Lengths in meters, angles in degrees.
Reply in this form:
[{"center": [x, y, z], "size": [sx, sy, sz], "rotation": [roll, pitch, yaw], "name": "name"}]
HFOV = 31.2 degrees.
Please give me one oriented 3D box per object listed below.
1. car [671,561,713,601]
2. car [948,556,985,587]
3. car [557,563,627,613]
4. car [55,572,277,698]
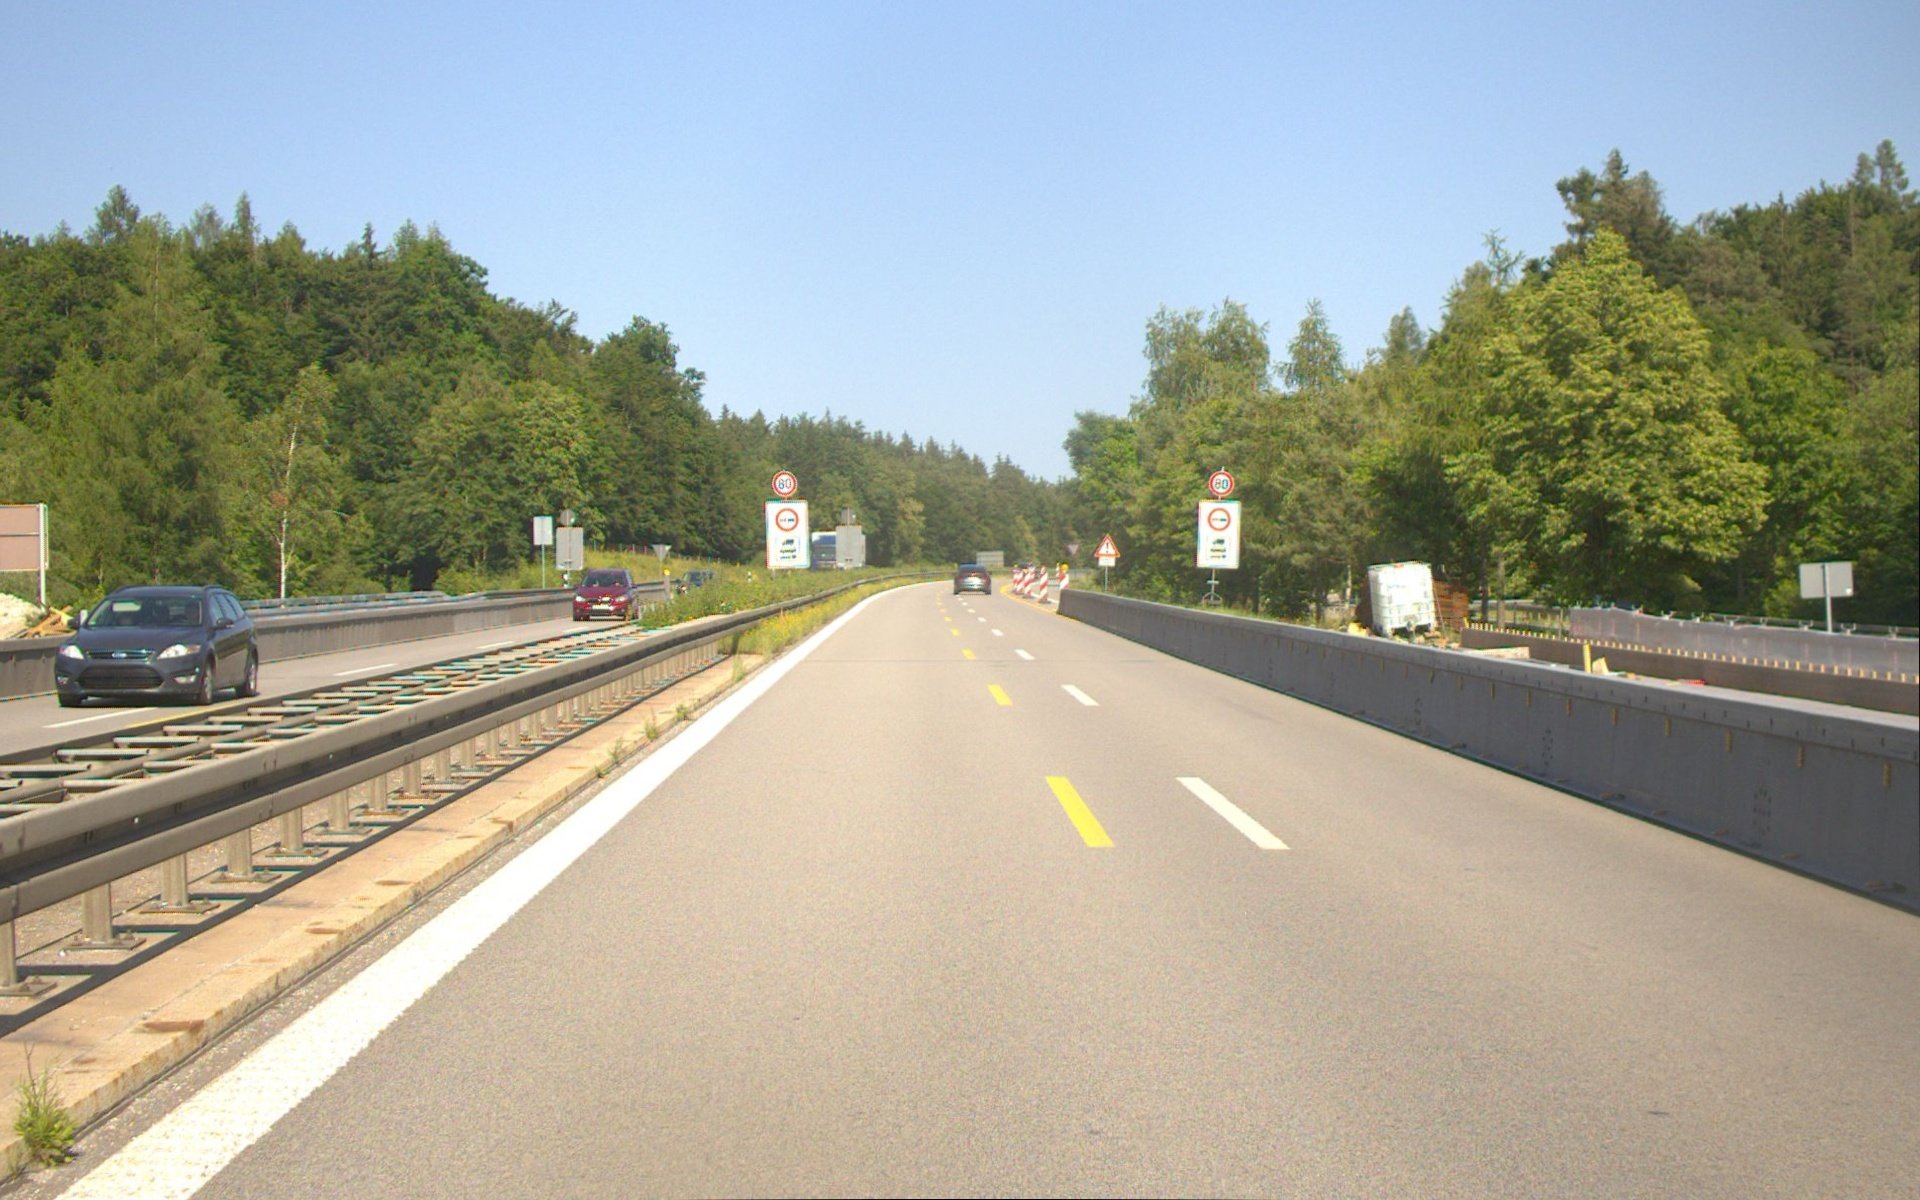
[{"center": [-11.657, -0.815, 149.497], "size": [1.527, 1.557, 3.454], "rotation": [-3, -1, -1], "name": "car"}, {"center": [0.305, -1.421, 169.328], "size": [1.744, 1.461, 4.294], "rotation": [-1, 1, -1], "name": "car"}, {"center": [-11.279, -0.390, 105.519], "size": [1.744, 1.461, 4.294], "rotation": [-1, 1, -1], "name": "car"}, {"center": [-10.003, 0.396, 43.681], "size": [1.744, 1.461, 4.910], "rotation": [-1, 1, -1], "name": "car"}]
